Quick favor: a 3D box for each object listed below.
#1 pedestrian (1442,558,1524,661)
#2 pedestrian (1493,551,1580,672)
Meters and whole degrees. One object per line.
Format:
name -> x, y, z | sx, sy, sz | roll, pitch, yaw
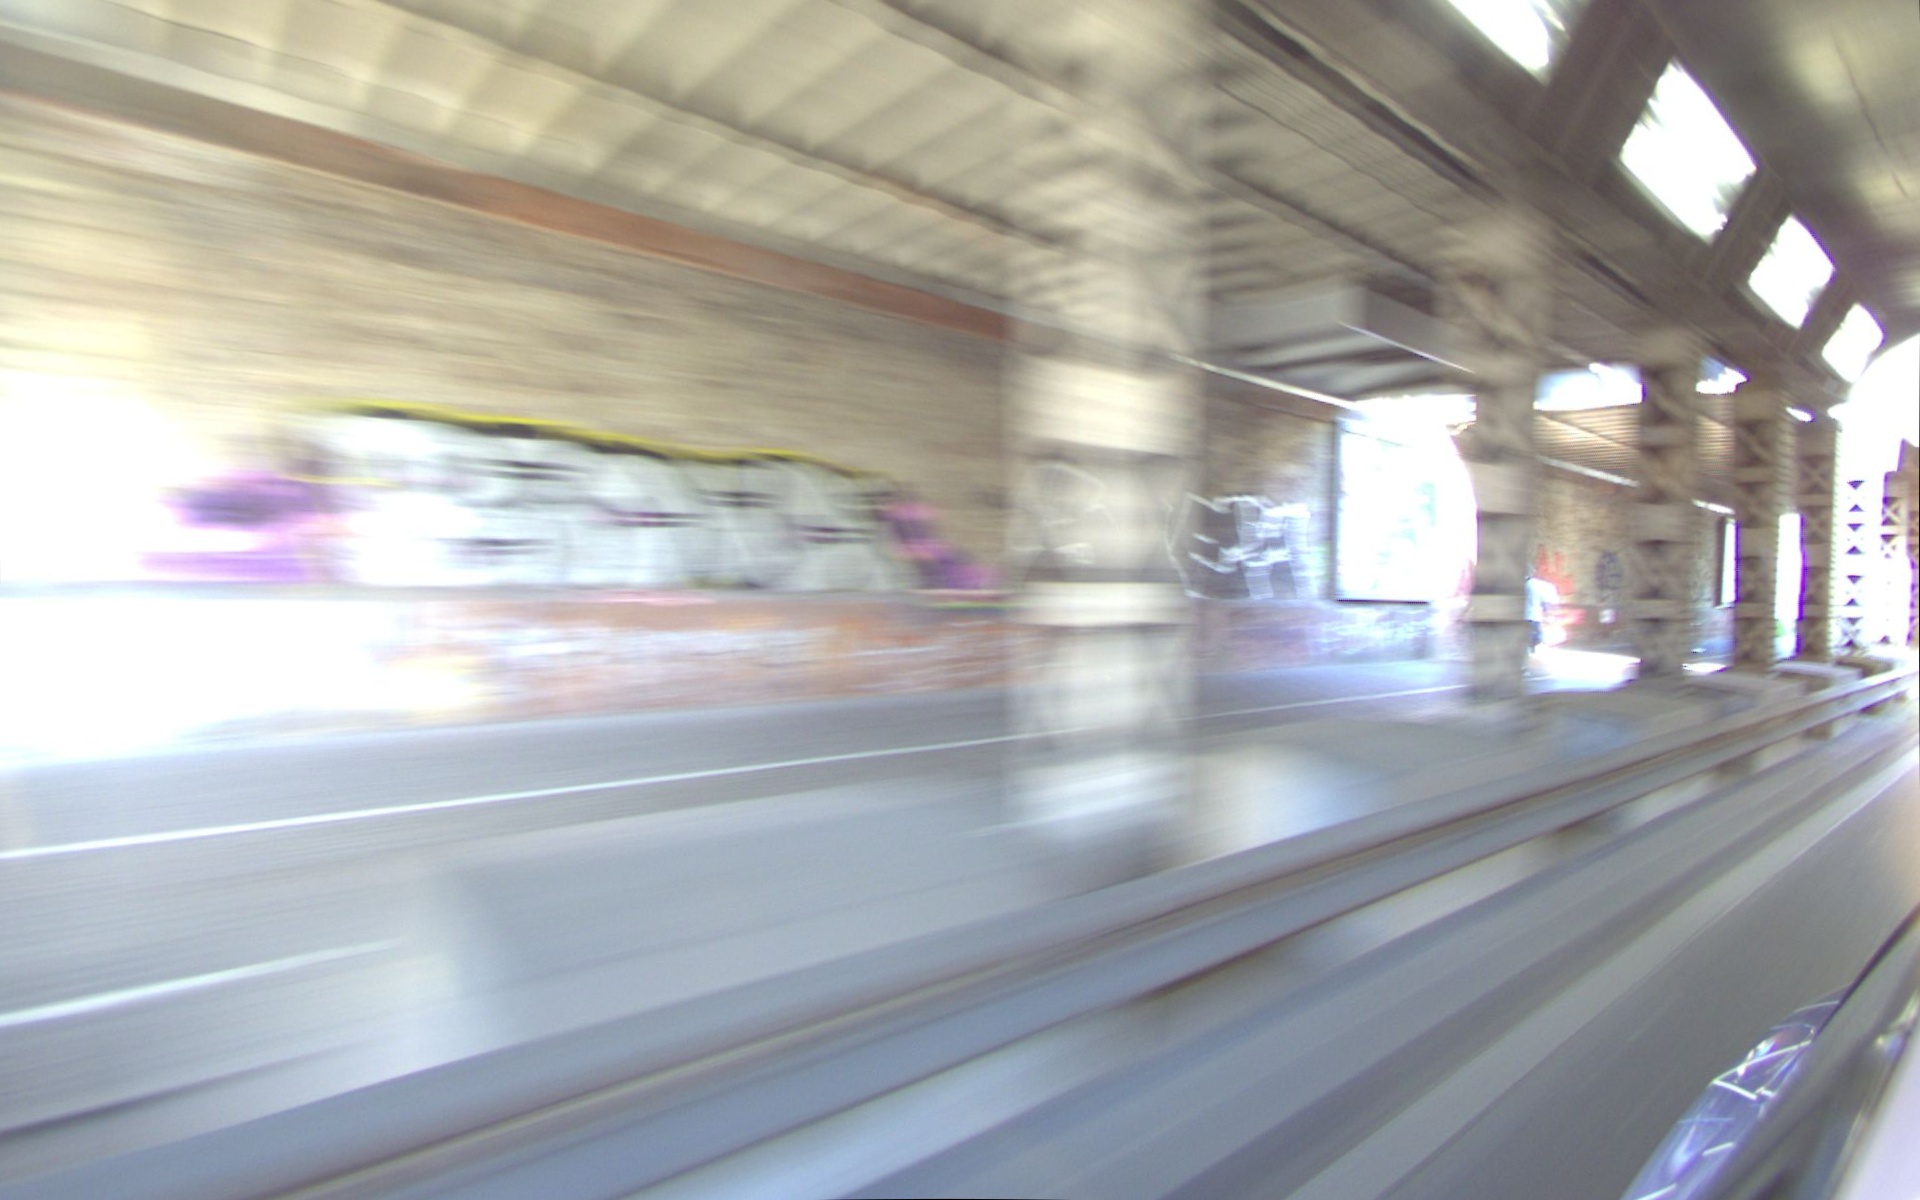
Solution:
pedestrian -> 9.093, 0.154, 17.603 | 0.871, 1.676, 0.918 | 1, 4, -44
pedestrian -> 9.408, 0.171, 16.515 | 0.907, 1.857, 0.881 | 1, 4, -44
